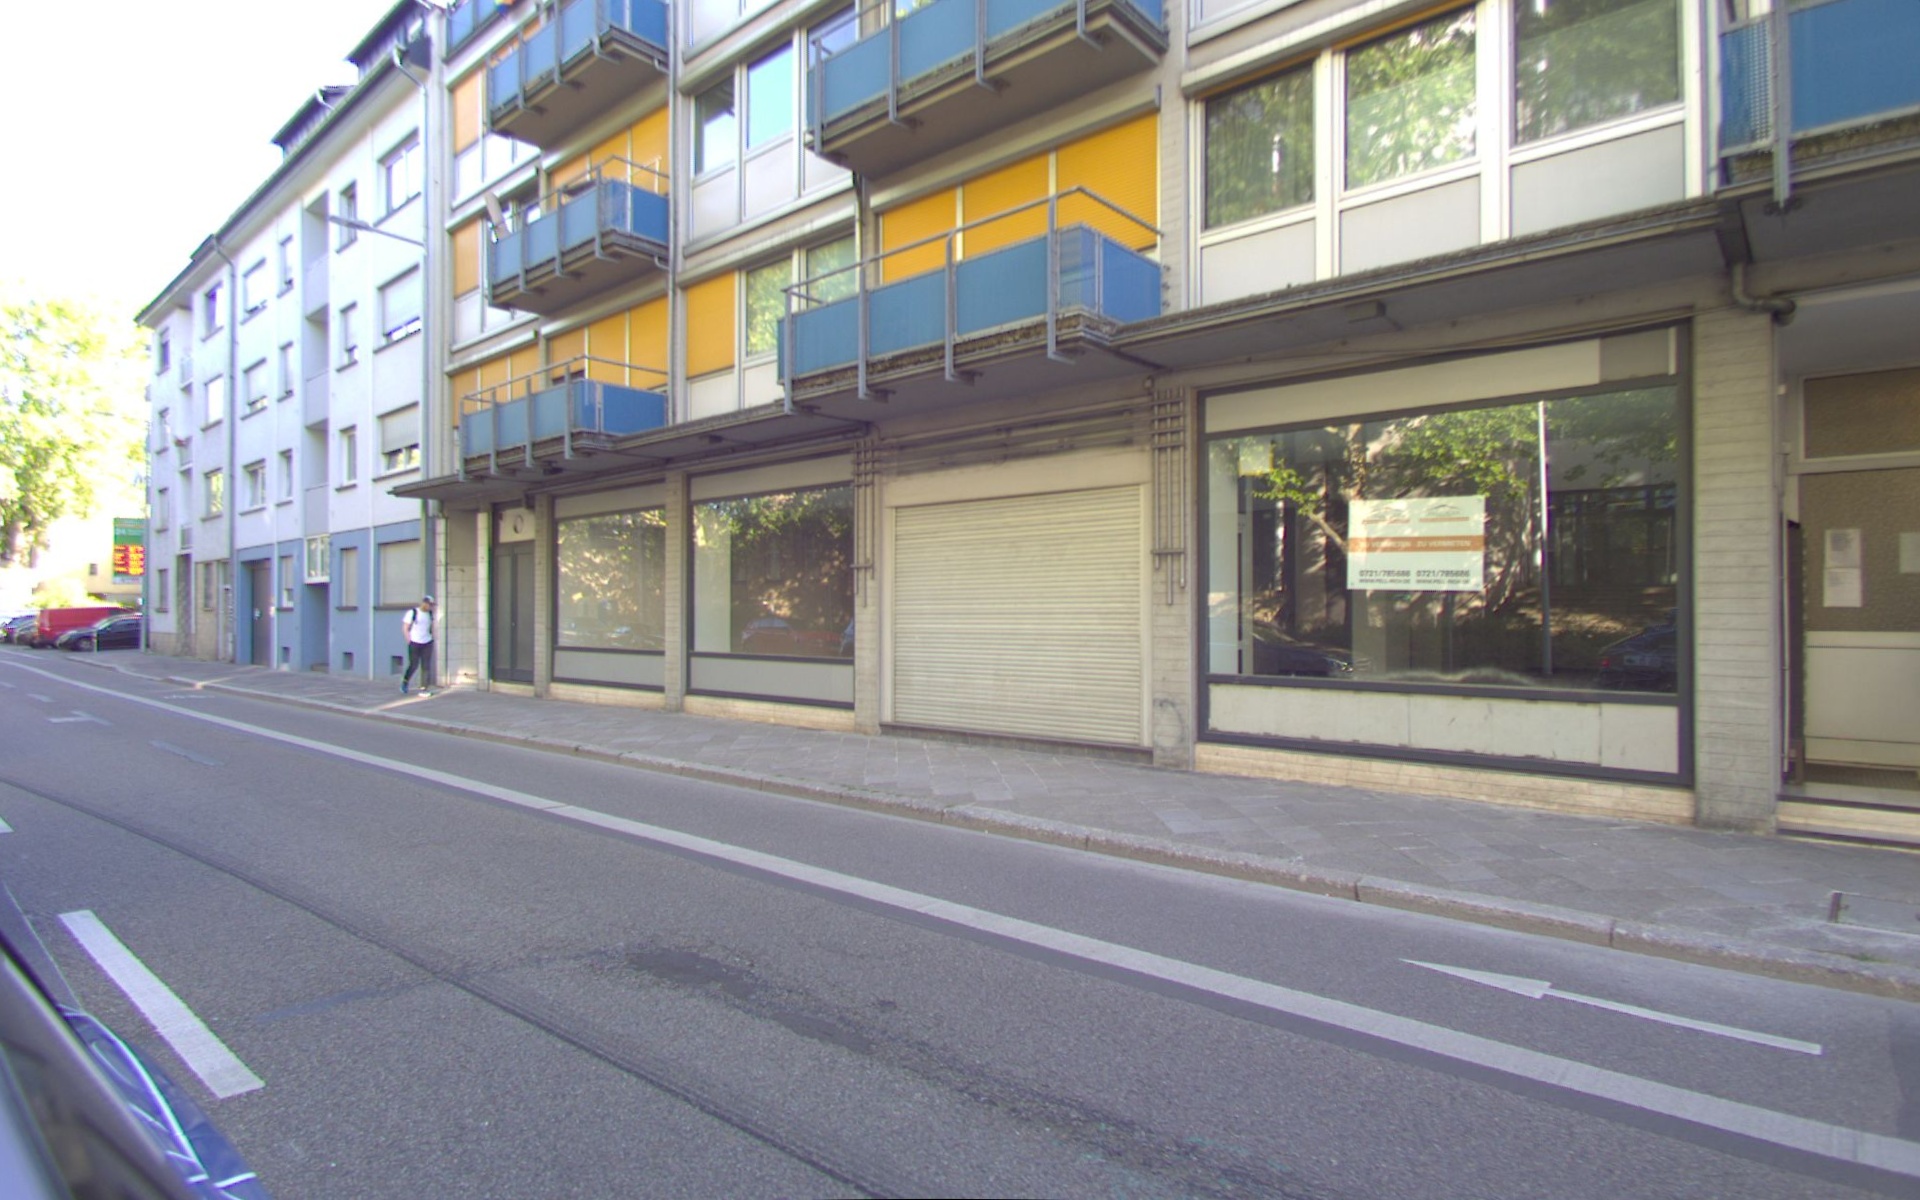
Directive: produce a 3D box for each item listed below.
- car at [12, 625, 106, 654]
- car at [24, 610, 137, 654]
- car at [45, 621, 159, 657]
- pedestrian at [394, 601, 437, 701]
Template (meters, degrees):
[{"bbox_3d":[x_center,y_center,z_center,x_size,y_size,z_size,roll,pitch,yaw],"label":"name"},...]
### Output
[{"bbox_3d":[-44.242,1.901,49.746,1.294,1.258,3.283,-1,0,40],"label":"car"},{"bbox_3d":[-41.967,1.487,48.354,1.635,1.937,3.878,-1,0,41],"label":"car"},{"bbox_3d":[-37.971,1.693,44.849,1.635,1.422,3.623,-1,0,41],"label":"car"},{"bbox_3d":[-9.696,0.895,18.021,0.343,1.739,0.562,-1,0,41],"label":"pedestrian"}]
